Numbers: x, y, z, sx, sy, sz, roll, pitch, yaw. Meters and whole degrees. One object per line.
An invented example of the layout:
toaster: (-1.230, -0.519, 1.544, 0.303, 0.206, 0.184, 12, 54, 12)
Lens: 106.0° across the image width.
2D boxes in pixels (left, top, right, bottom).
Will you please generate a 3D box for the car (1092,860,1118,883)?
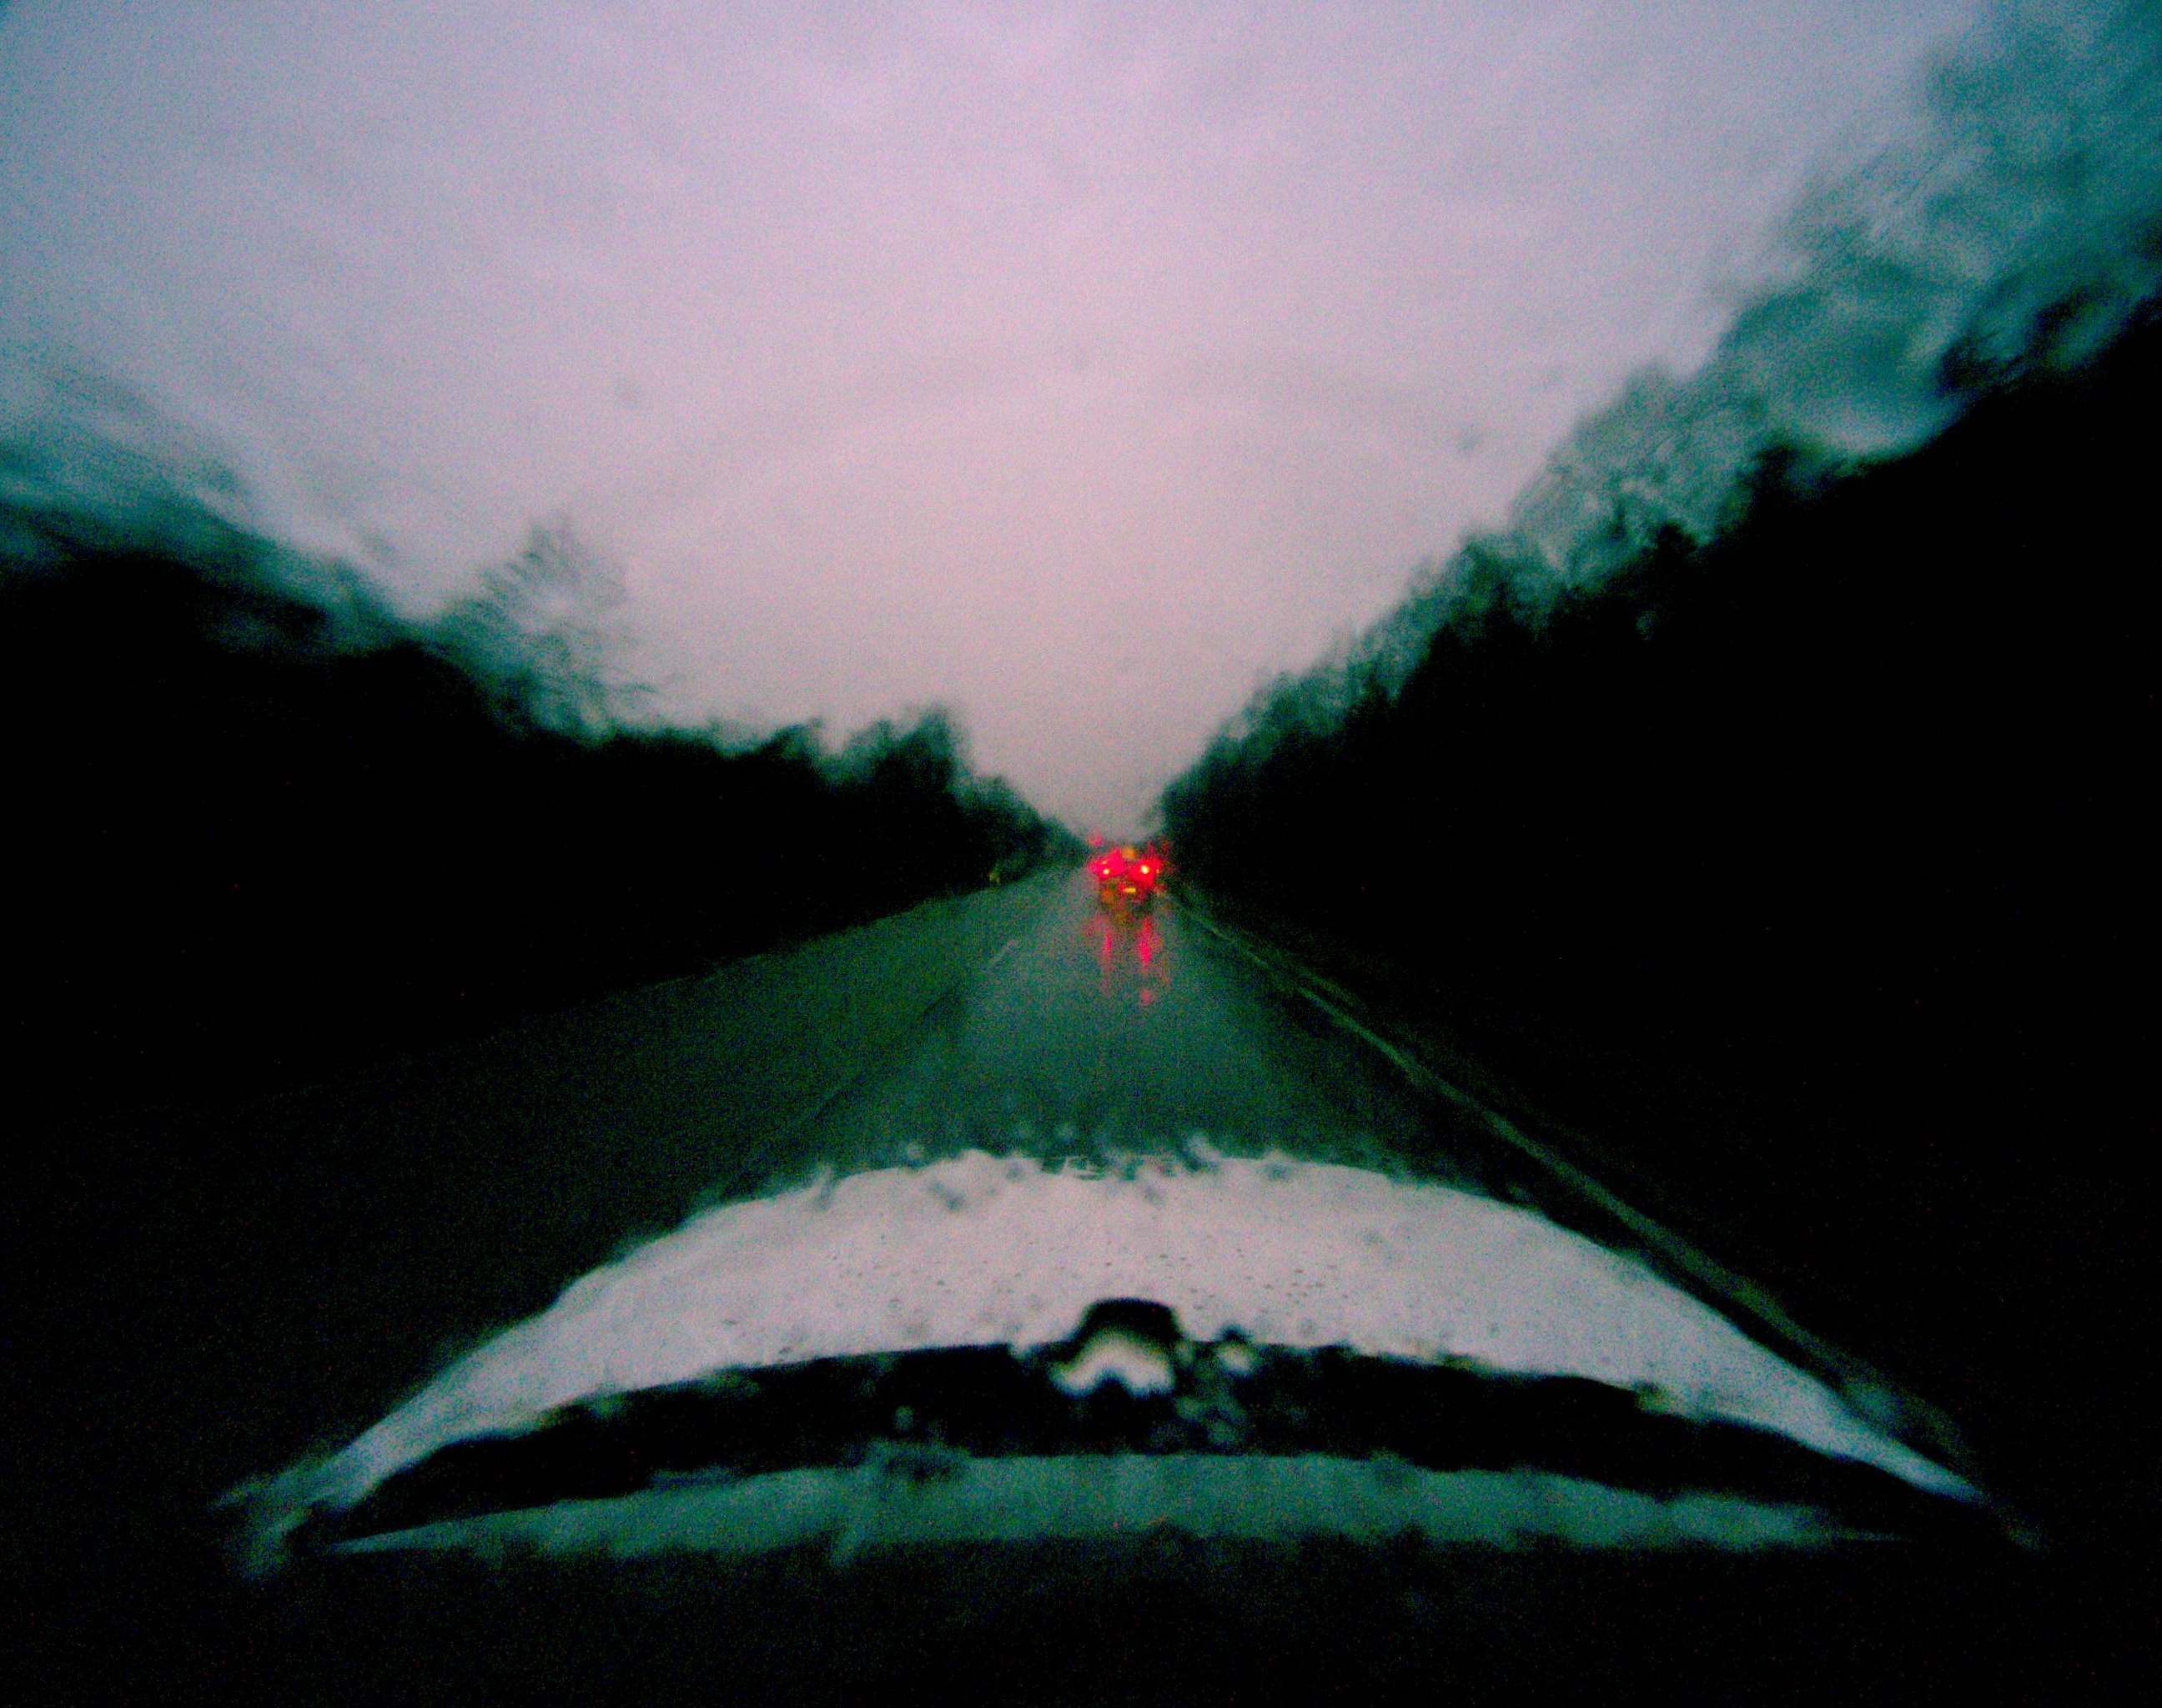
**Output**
car: (1.797, 1.269, 59.989, 1.720, 1.643, 4.003, -1, -1, 3)

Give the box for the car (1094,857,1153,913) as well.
car: (1.364, 0.939, 26.117, 1.720, 1.643, 4.003, -1, -1, 3)
